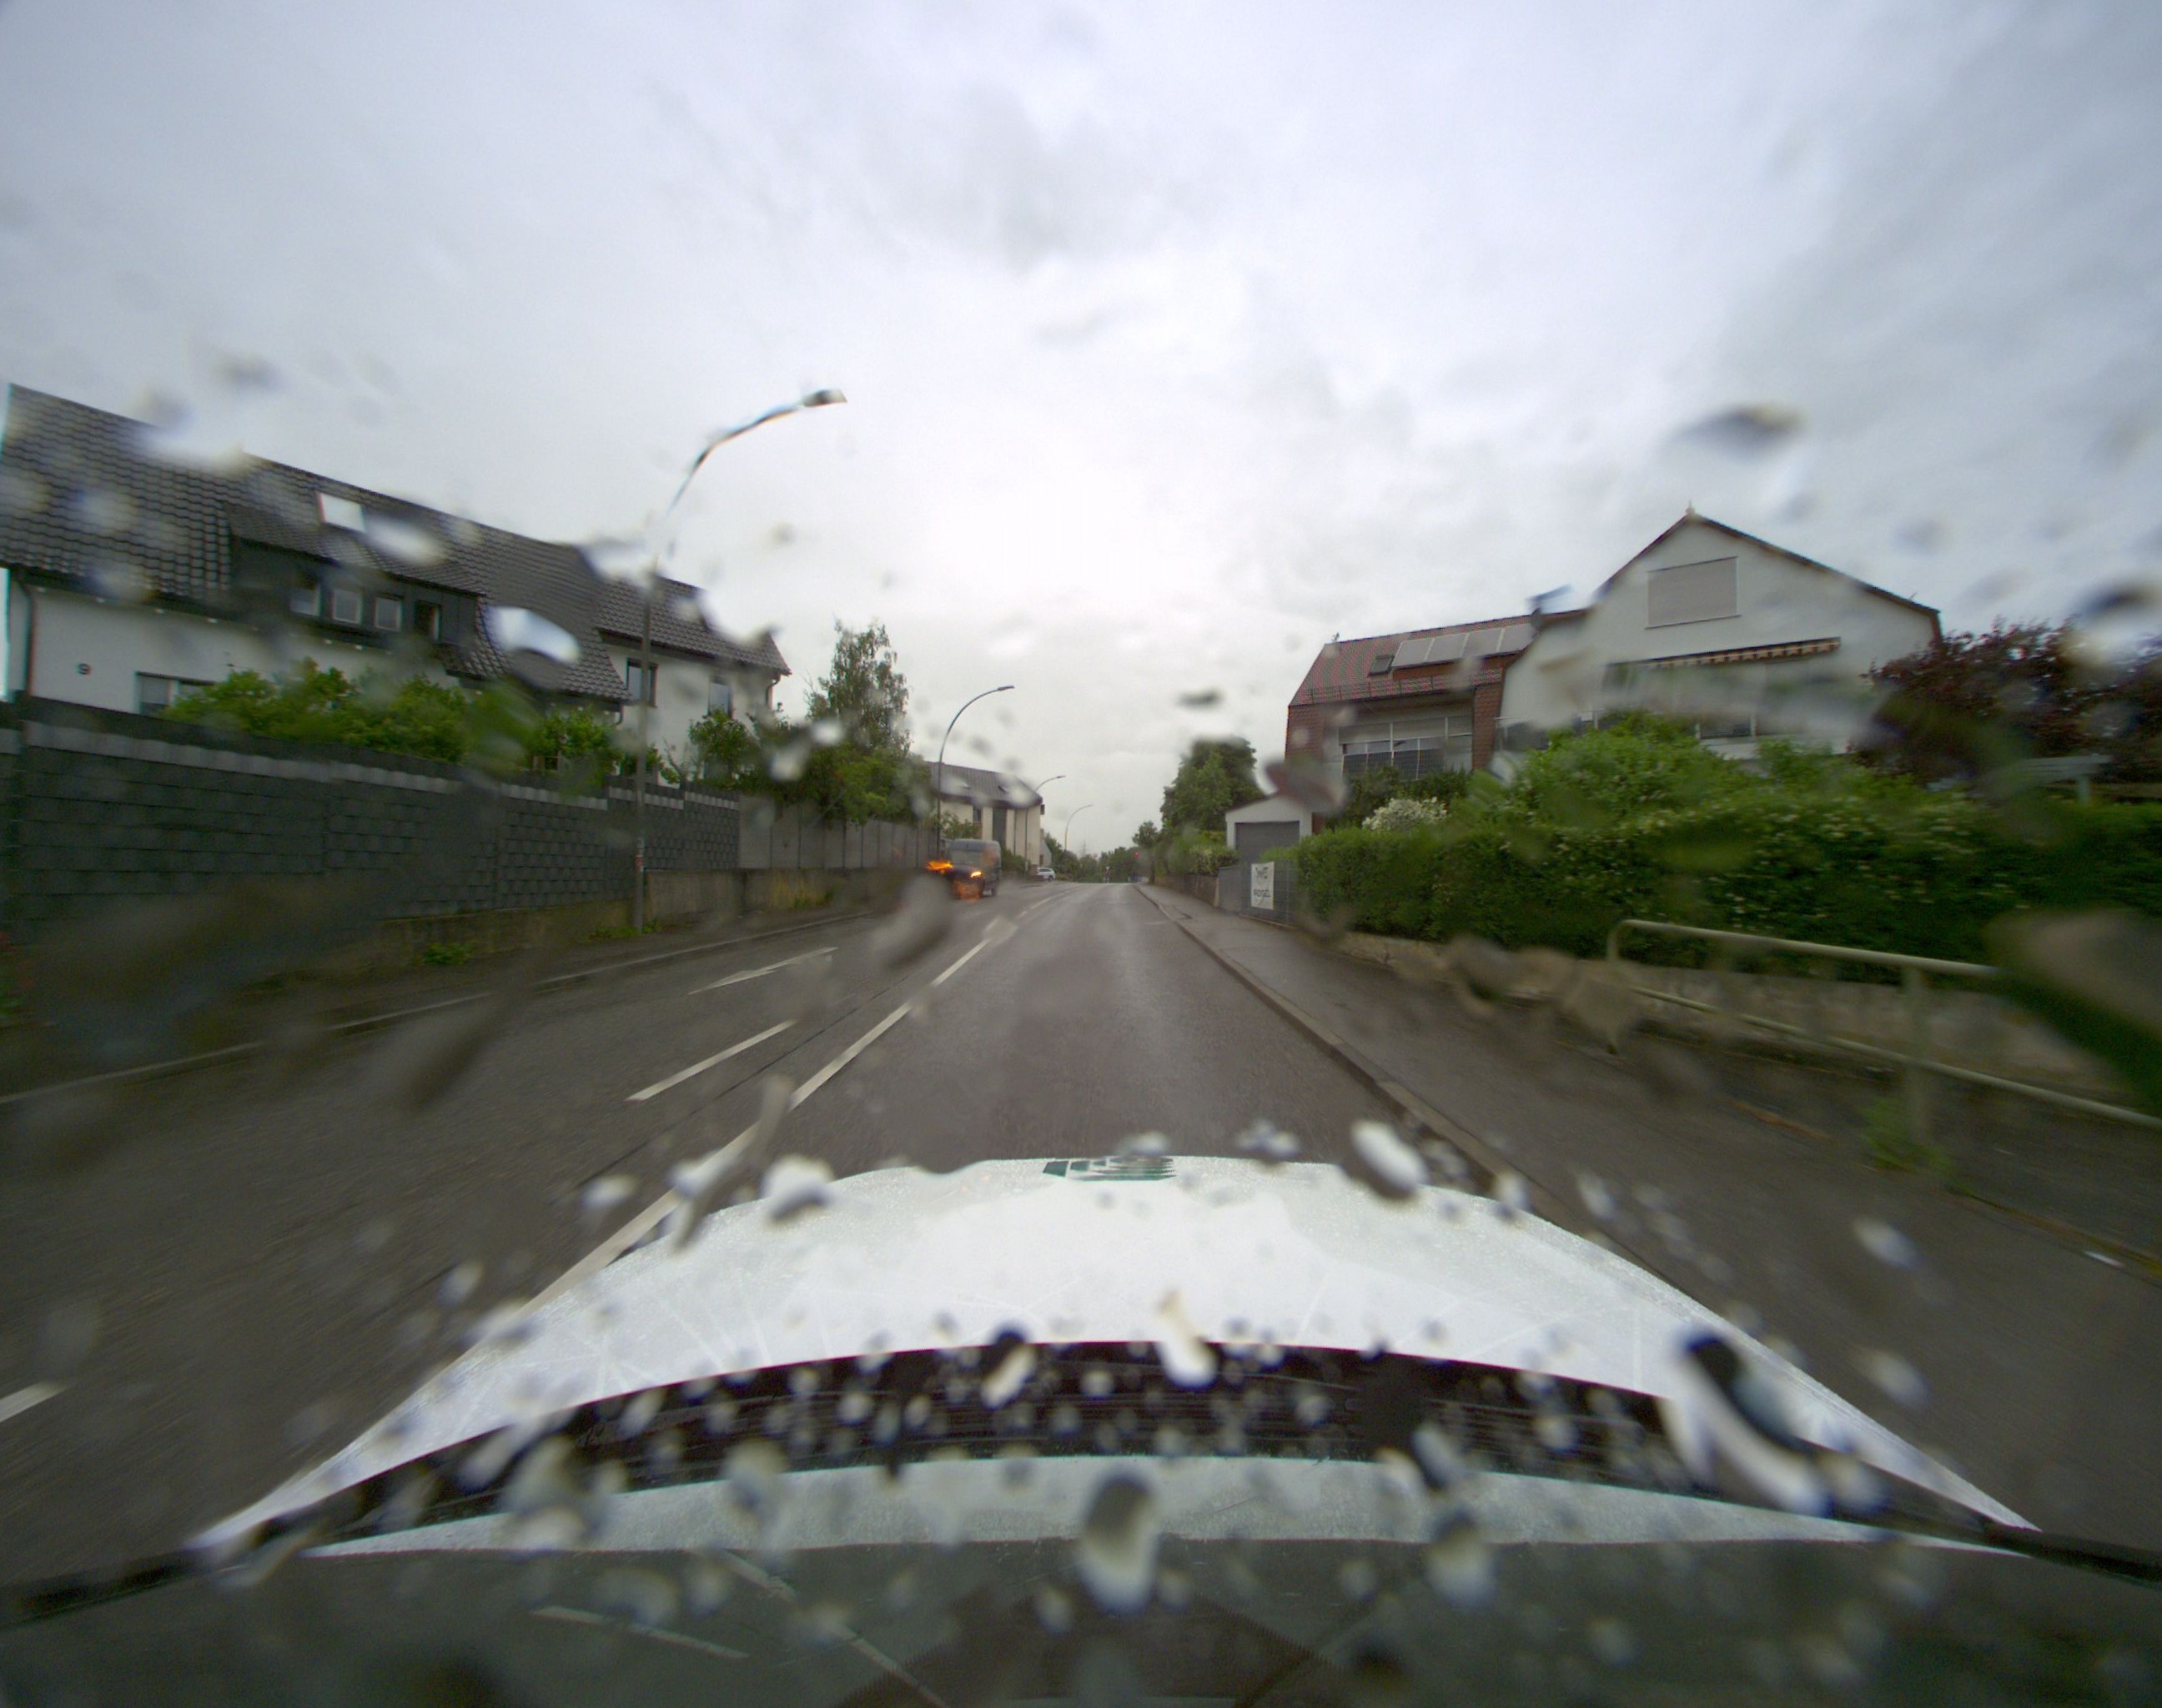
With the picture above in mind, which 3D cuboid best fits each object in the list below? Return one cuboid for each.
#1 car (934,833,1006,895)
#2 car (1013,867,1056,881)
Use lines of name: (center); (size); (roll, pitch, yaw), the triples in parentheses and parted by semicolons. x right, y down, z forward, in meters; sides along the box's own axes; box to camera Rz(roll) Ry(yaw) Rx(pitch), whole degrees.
car: (-5.068, 0.480, 38.142); (2.085, 2.649, 5.924); (2, -1, 4)
car: (-5.133, 2.267, 90.344); (1.883, 1.477, 4.912); (1, -1, 38)
